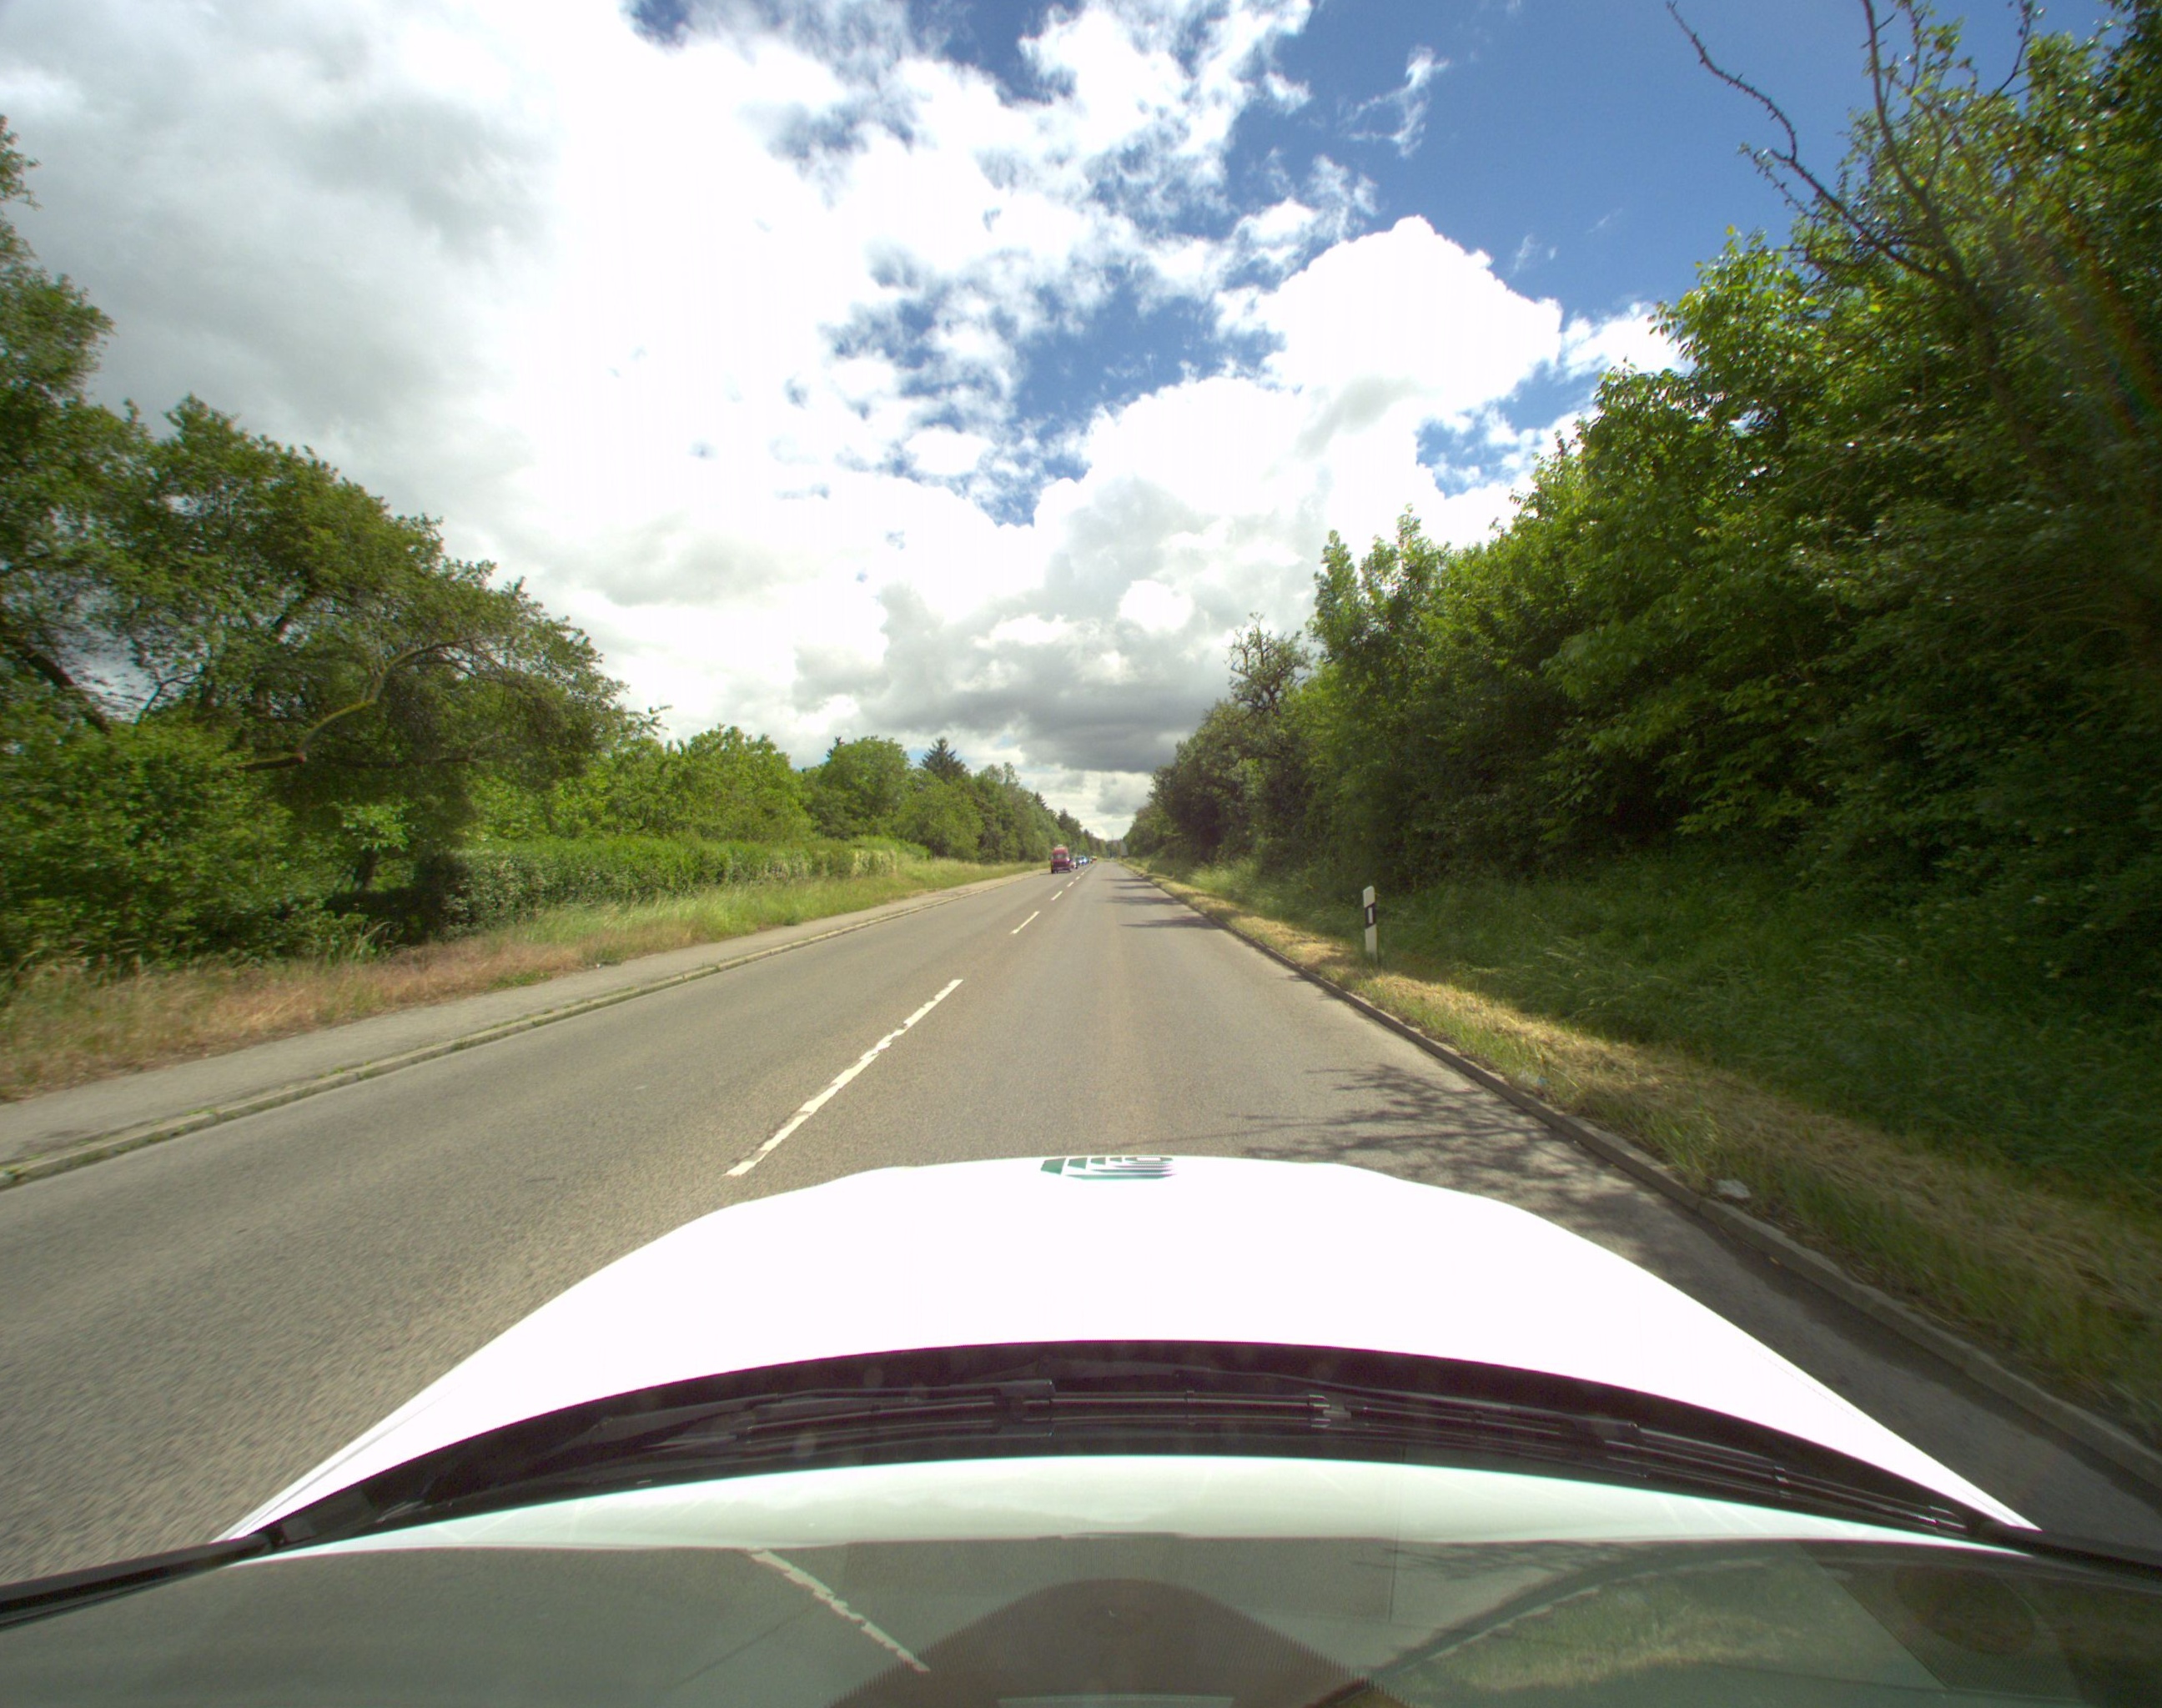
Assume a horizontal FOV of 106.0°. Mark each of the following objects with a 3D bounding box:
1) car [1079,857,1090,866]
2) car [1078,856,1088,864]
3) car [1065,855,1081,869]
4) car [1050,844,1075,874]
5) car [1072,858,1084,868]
[{"bbox_3d":[0.614,1.311,143.732,1.778,1.446,2.966,-4,0,0],"label":"car"},{"bbox_3d":[0.435,1.154,158.728,1.878,1.492,4.717,-4,0,1],"label":"car"},{"bbox_3d":[-0.919,0.952,96.194,1.710,1.471,4.000,-5,0,1],"label":"car"},{"bbox_3d":[-1.695,0.424,75.721,1.962,2.550,4.726,-4,0,1],"label":"car"},{"bbox_3d":[-0.475,1.348,127.711,1.778,1.446,4.452,-4,0,1],"label":"car"}]
